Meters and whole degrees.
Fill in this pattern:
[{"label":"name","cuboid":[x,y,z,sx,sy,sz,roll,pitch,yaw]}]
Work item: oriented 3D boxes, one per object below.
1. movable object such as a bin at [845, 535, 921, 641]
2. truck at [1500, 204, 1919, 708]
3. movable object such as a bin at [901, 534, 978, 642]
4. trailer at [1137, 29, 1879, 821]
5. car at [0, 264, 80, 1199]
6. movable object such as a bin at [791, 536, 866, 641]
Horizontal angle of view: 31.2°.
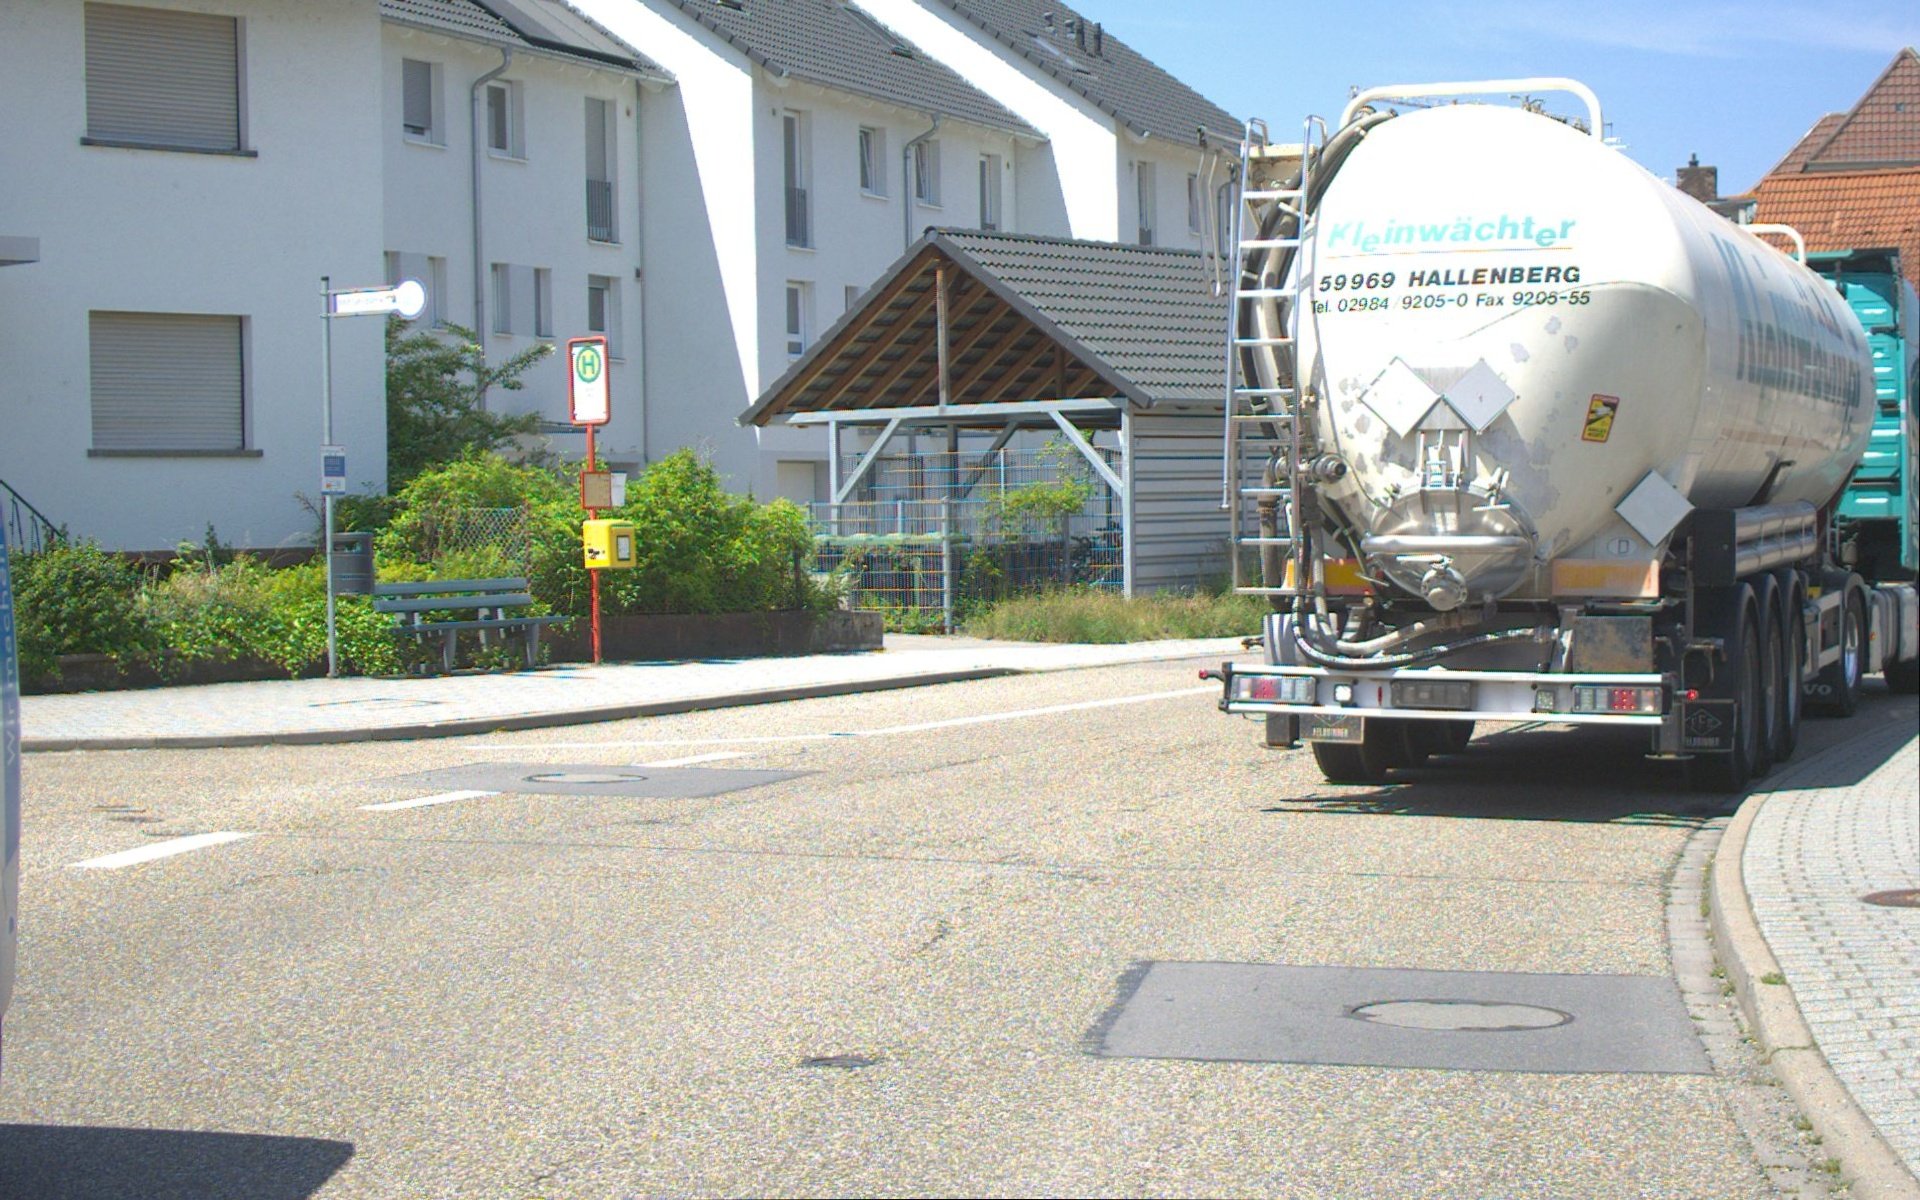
[{"label":"movable object such as a bin","cuboid":[-0.935,-0.151,41.979,0.641,1.274,0.693,1,2,36]},{"label":"truck","cuboid":[7.026,-1.158,30.134,2.992,3.951,5.571,0,0,26]},{"label":"movable object such as a bin","cuboid":[-0.250,-0.152,41.486,0.641,1.274,0.693,1,2,36]},{"label":"trailer","cuboid":[4.218,-0.991,23.063,2.955,3.934,11.608,0,1,19]},{"label":"car","cuboid":[-3.108,0.320,5.255,1.994,1.993,5.214,1,1,2]},{"label":"movable object such as a bin","cuboid":[-1.619,-0.149,42.412,0.641,1.274,0.693,1,2,36]}]
